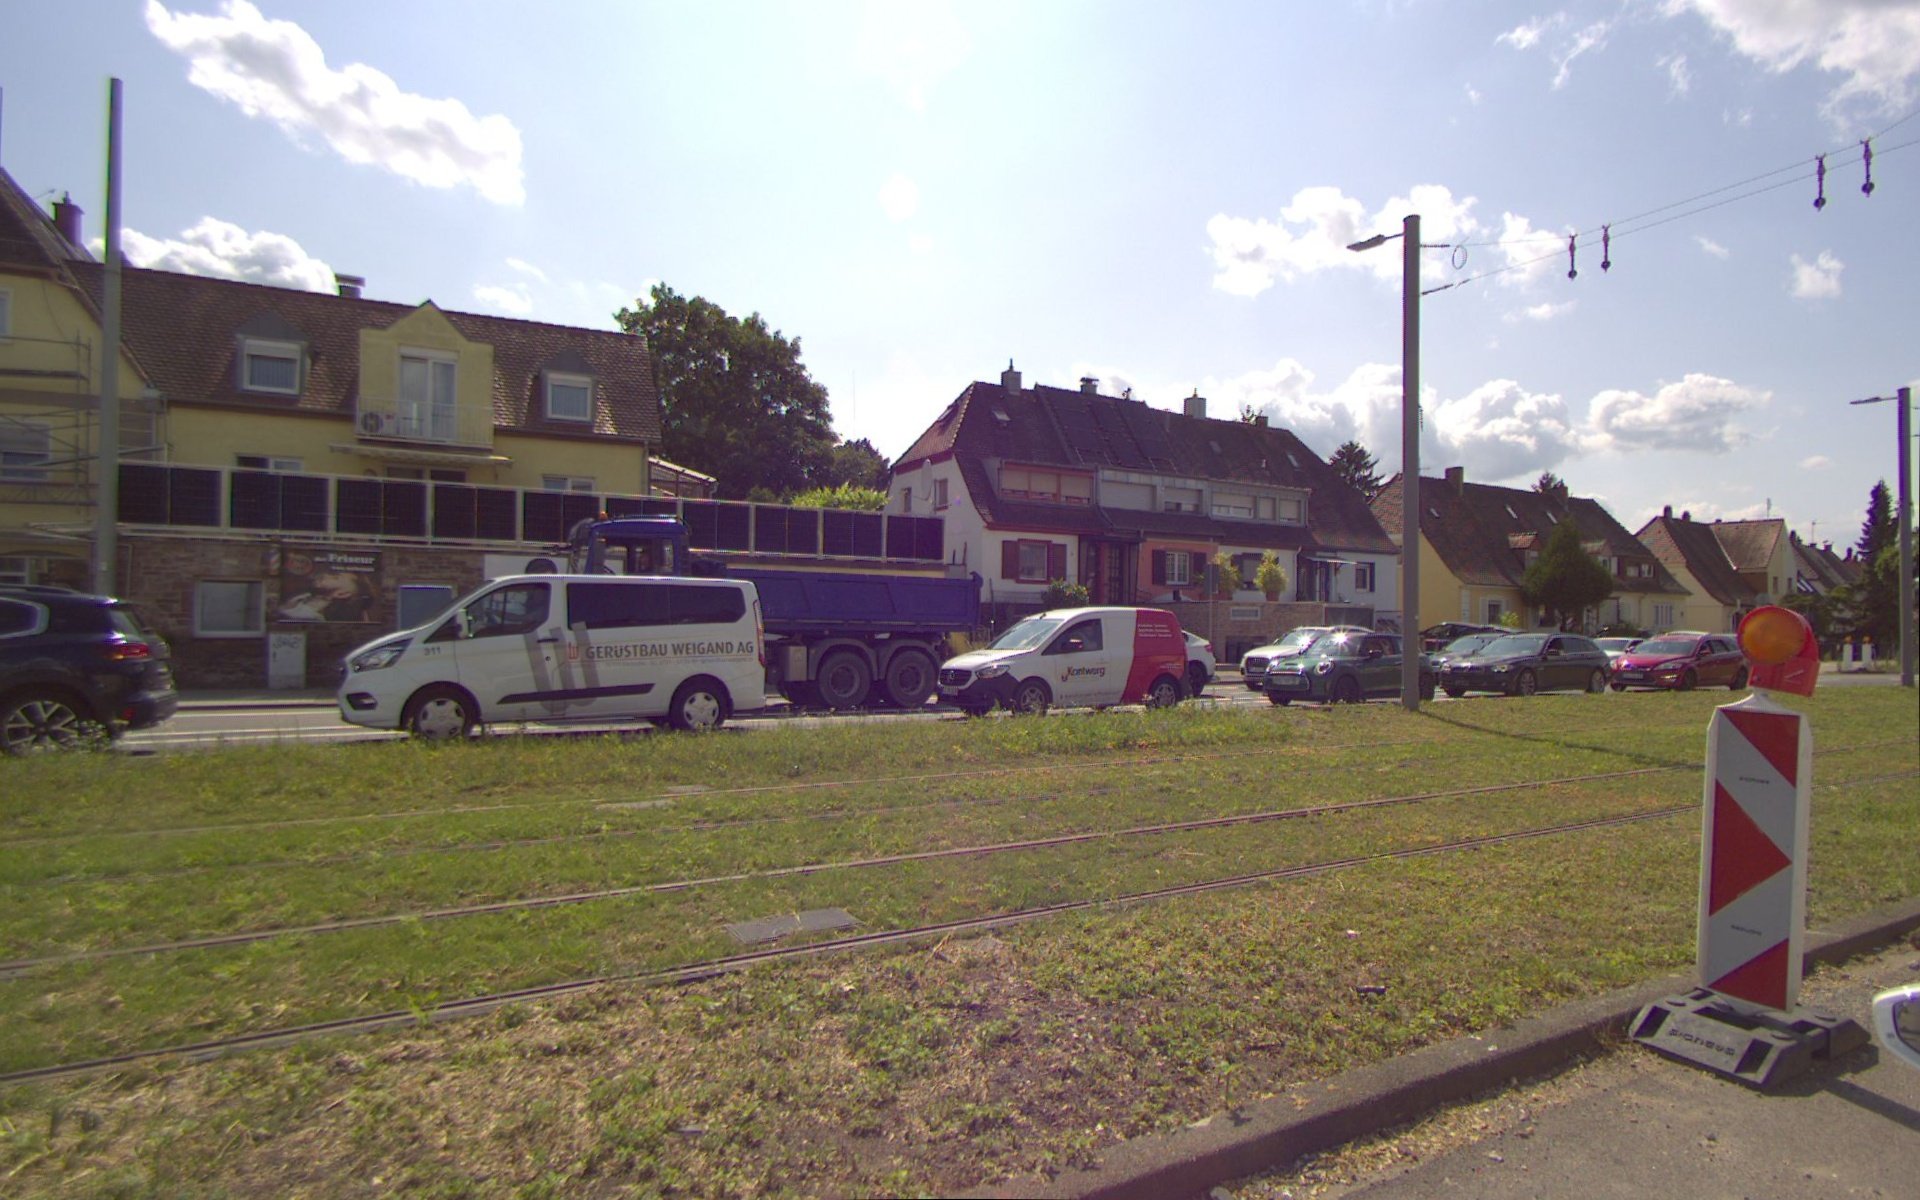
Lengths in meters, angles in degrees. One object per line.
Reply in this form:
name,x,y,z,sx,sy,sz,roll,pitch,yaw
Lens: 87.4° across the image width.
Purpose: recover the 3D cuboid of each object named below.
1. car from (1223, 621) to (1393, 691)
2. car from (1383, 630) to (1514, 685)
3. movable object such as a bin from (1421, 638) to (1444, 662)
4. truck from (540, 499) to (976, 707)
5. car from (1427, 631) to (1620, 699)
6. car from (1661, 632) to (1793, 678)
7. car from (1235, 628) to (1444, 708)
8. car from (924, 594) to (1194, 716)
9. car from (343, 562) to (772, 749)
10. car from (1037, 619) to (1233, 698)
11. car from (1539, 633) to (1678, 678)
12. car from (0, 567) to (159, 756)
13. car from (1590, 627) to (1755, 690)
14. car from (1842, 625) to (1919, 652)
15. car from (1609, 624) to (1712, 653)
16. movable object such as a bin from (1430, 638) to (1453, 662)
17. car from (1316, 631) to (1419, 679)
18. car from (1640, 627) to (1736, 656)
car,9.151,1.421,26.280,4.456,1.691,1.833,2,-2,-32
car,14.440,1.681,29.672,3.613,1.513,1.834,2,-2,-31
movable object such as a bin,19.074,2.023,40.537,0.511,0.945,0.677,2,-1,-32
truck,-3.586,0.162,18.788,7.499,3.230,2.753,2,-1,-32
car,13.155,1.465,23.362,4.862,1.432,1.833,2,-2,-32
car,27.436,1.946,35.916,4.675,1.555,1.838,2,-1,-26
car,7.581,1.300,19.981,3.956,1.437,1.905,2,-2,-32
car,1.717,0.887,16.766,4.357,1.805,1.723,2,-2,-32
car,-4.900,0.643,12.497,4.696,1.947,1.804,2,-1,-32
car,4.125,1.328,23.491,4.385,1.681,1.835,2,-2,-30
car,21.088,1.785,32.600,4.720,1.361,1.835,2,-2,-29
car,-10.446,0.563,9.374,4.389,1.743,1.778,1,-1,-31
car,19.001,1.523,26.722,4.801,1.513,1.834,2,-2,-31
car,66.032,2.721,71.823,2.079,1.800,4.082,2,-2,-34
car,37.422,2.038,53.770,1.968,1.486,4.088,1,-2,-30
movable object such as a bin,19.596,2.018,40.876,0.511,0.945,0.677,2,-1,-32
car,13.127,1.749,32.361,3.051,1.438,1.559,2,-2,-31
car,40.348,2.264,55.747,1.685,1.417,3.967,1,0,-30
